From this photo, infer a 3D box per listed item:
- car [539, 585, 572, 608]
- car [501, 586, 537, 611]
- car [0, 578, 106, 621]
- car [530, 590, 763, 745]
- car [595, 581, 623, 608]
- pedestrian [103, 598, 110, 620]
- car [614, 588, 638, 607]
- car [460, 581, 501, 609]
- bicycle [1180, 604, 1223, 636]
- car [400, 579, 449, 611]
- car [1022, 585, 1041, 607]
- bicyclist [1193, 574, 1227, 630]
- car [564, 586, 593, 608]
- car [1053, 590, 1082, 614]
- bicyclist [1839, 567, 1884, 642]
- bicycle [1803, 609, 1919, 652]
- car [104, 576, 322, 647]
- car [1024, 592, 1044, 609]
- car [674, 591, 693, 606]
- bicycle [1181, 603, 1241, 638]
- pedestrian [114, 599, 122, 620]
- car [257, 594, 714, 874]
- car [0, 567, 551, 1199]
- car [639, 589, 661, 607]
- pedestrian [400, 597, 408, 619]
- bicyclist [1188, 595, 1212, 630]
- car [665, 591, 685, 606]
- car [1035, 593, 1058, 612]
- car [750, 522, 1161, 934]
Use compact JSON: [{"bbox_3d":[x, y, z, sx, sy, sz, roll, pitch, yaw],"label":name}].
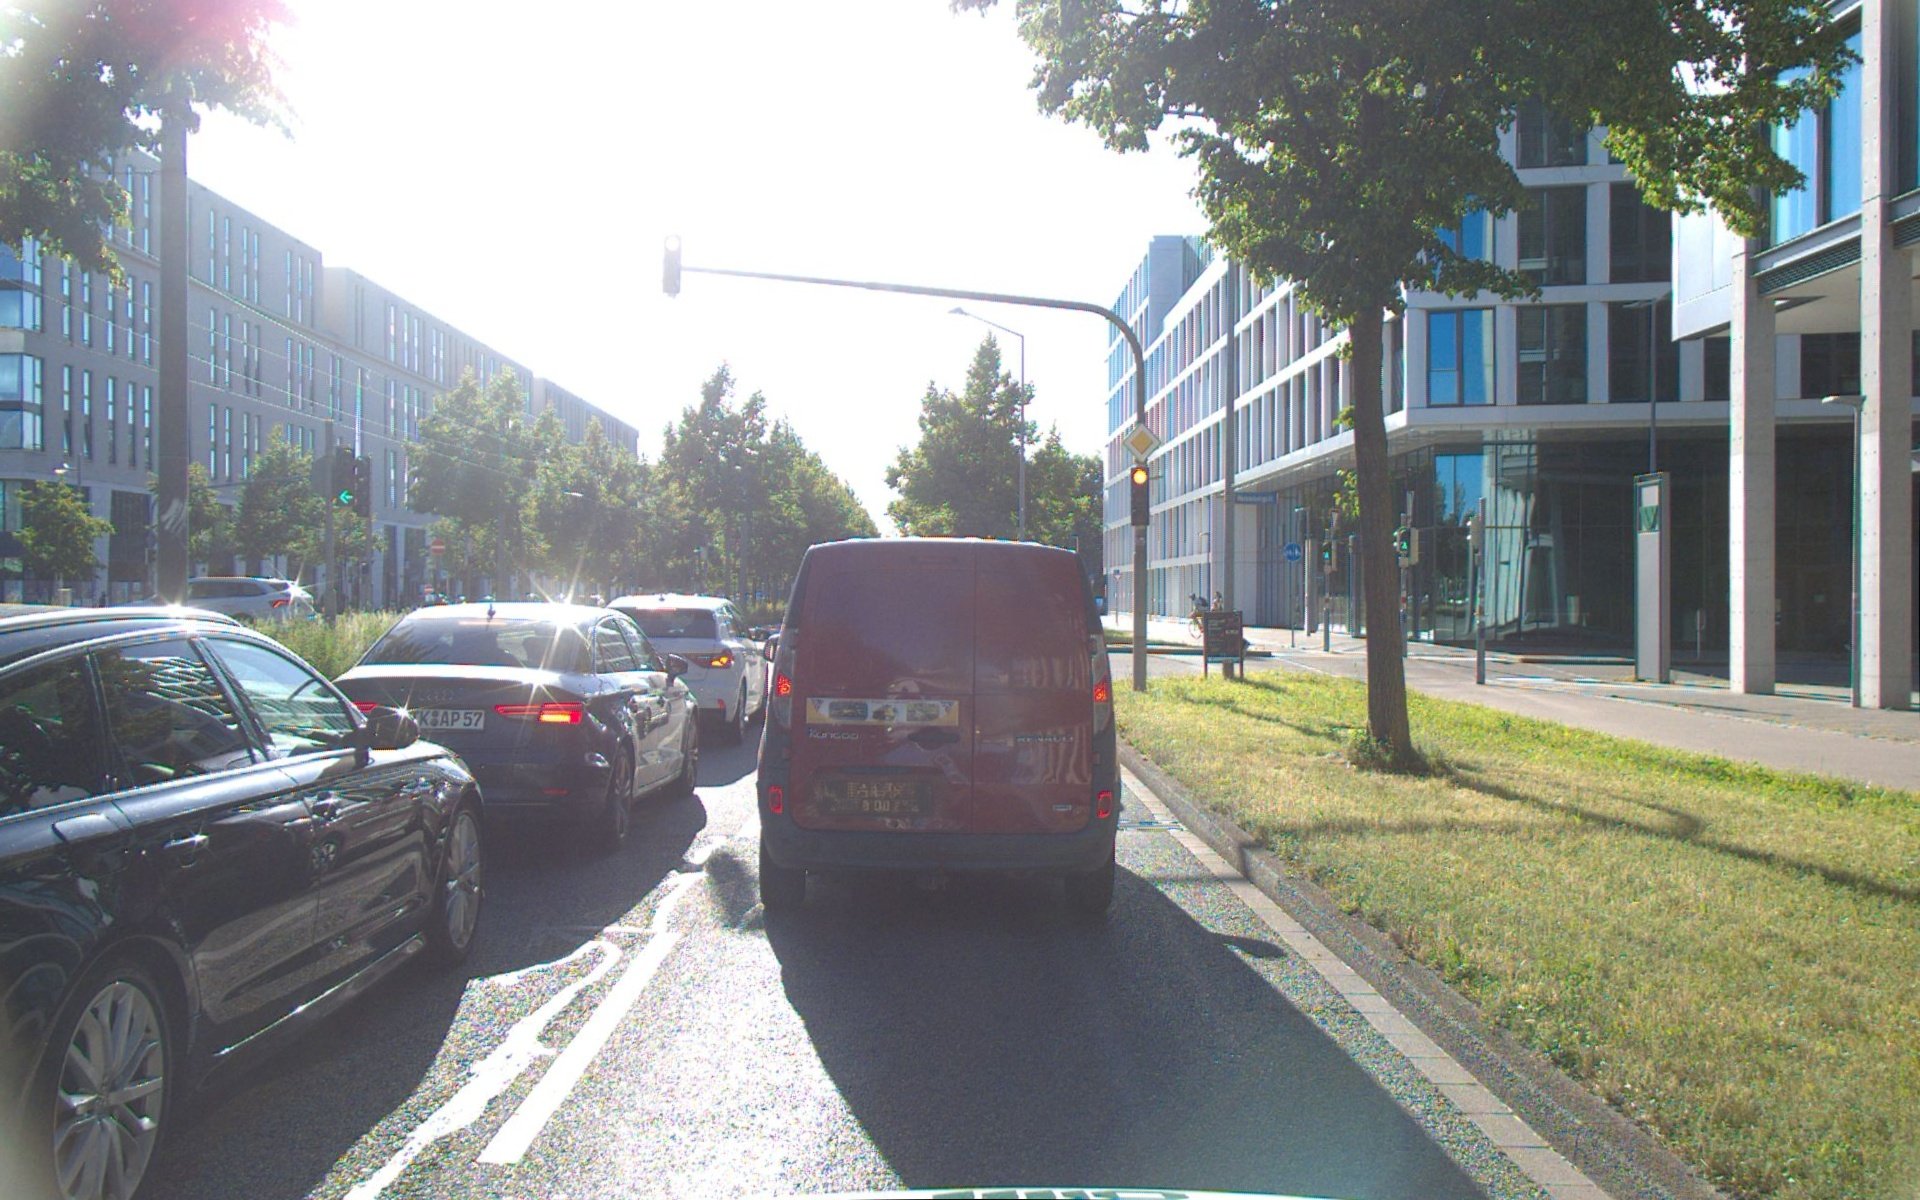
[{"bbox_3d":[-36.364,-0.340,148.765,1.953,2.049,3.999,0,0,-1],"label":"car"},{"bbox_3d":[-36.243,-0.144,135.938,1.953,2.049,3.999,0,0,-1],"label":"car"},{"bbox_3d":[-33.195,-0.031,60.644,1.729,1.546,3.999,0,0,-1],"label":"car"},{"bbox_3d":[-3.174,0.627,17.488,1.767,1.451,3.900,0,0,-1],"label":"car"},{"bbox_3d":[-35.598,-0.559,167.809,1.953,2.653,3.999,0,0,-1],"label":"car"},{"bbox_3d":[-43.262,0.452,83.847,0.248,1.104,0.260,0,0,-1],"label":"pedestrian"},{"bbox_3d":[-36.716,-0.269,181.846,1.953,2.049,3.999,0,0,-1],"label":"car"},{"bbox_3d":[-35.832,-0.381,123.632,1.953,2.049,3.999,0,0,-1],"label":"car"},{"bbox_3d":[9.011,0.740,61.910,0.803,1.134,2.840,0,0,-9],"label":"bicycle"},{"bbox_3d":[-35.281,-0.312,109.102,1.953,2.049,3.999,0,0,-1],"label":"car"},{"bbox_3d":[8.583,-0.510,198.455,1.953,2.540,4.986,0,0,-1],"label":"car"},{"bbox_3d":[8.807,0.068,58.344,0.803,1.981,0.996,0,0,-21],"label":"bicyclist"},{"bbox_3d":[-36.381,-0.317,157.865,1.953,2.049,3.999,0,0,-1],"label":"car"},{"bbox_3d":[8.329,0.152,128.137,1.953,1.813,3.999,0,0,-1],"label":"car"},{"bbox_3d":[25.805,0.113,47.356,0.920,2.129,0.818,0,0,11],"label":"bicyclist"},{"bbox_3d":[25.811,0.869,47.345,2.879,1.211,0.818,0,0,11],"label":"bicycle"},{"bbox_3d":[-16.359,0.244,36.316,4.113,1.518,1.520,0,0,4],"label":"car"},{"bbox_3d":[8.069,0.072,179.928,1.953,1.813,3.999,0,0,-1],"label":"car"},{"bbox_3d":[-37.164,-0.185,222.294,1.953,2.049,3.999,0,0,-1],"label":"car"},{"bbox_3d":[8.822,0.705,58.328,0.803,1.211,2.934,0,0,-20],"label":"bicycle"},{"bbox_3d":[-42.840,0.478,84.114,0.248,1.104,0.289,0,0,-1],"label":"pedestrian"},{"bbox_3d":[-2.811,0.700,10.859,1.804,1.451,4.338,0,0,-1],"label":"car"},{"bbox_3d":[-2.709,0.685,5.054,1.836,1.510,4.965,0,0,-2],"label":"car"},{"bbox_3d":[-37.213,-0.248,198.652,1.953,2.049,3.999,0,0,-1],"label":"car"},{"bbox_3d":[-44.537,0.638,132.474,0.458,1.775,0.479,0,0,-1],"label":"pedestrian"},{"bbox_3d":[8.982,0.463,61.880,0.801,1.297,0.683,0,0,1],"label":"bicyclist"},{"bbox_3d":[-37.352,-0.207,216.667,1.953,2.049,3.999,0,0,-1],"label":"car"},{"bbox_3d":[8.424,0.240,160.733,1.953,1.813,3.999,0,0,-1],"label":"car"},{"bbox_3d":[-0.046,0.558,9.300,1.804,1.812,3.999,0,0,-1],"label":"car"}]
